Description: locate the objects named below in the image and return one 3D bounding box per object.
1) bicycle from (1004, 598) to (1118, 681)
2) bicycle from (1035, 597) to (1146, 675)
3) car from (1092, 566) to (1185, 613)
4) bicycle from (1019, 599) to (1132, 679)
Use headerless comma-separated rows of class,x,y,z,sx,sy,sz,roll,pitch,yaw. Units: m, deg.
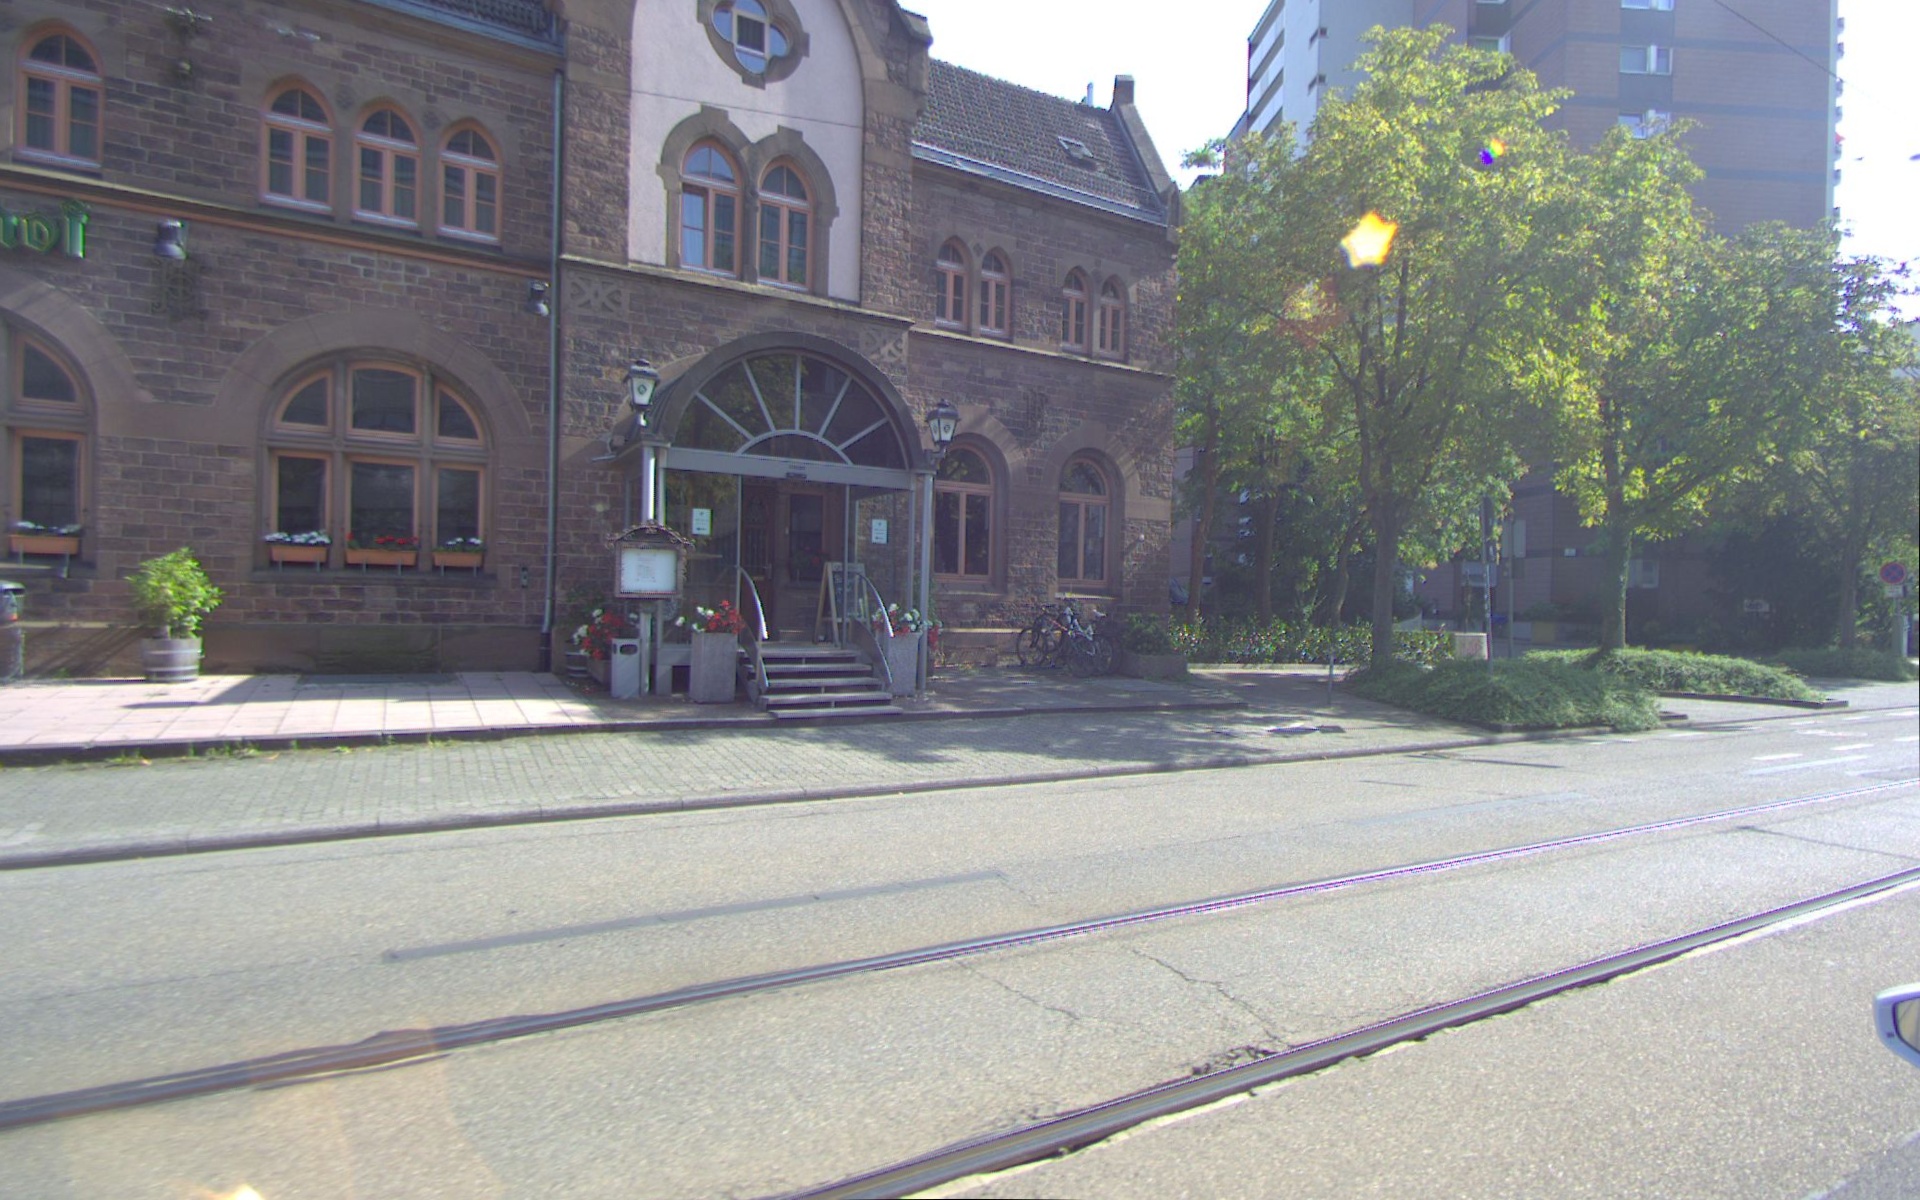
bicycle,1.575,0.599,15.879,1.780,1.088,0.419,7,4,38
bicycle,2.133,0.572,16.628,1.780,1.088,0.419,7,4,38
car,10.456,-0.613,59.037,5.139,2.631,2.009,1,0,44
bicycle,1.845,0.607,16.263,1.780,1.088,0.419,7,4,38
